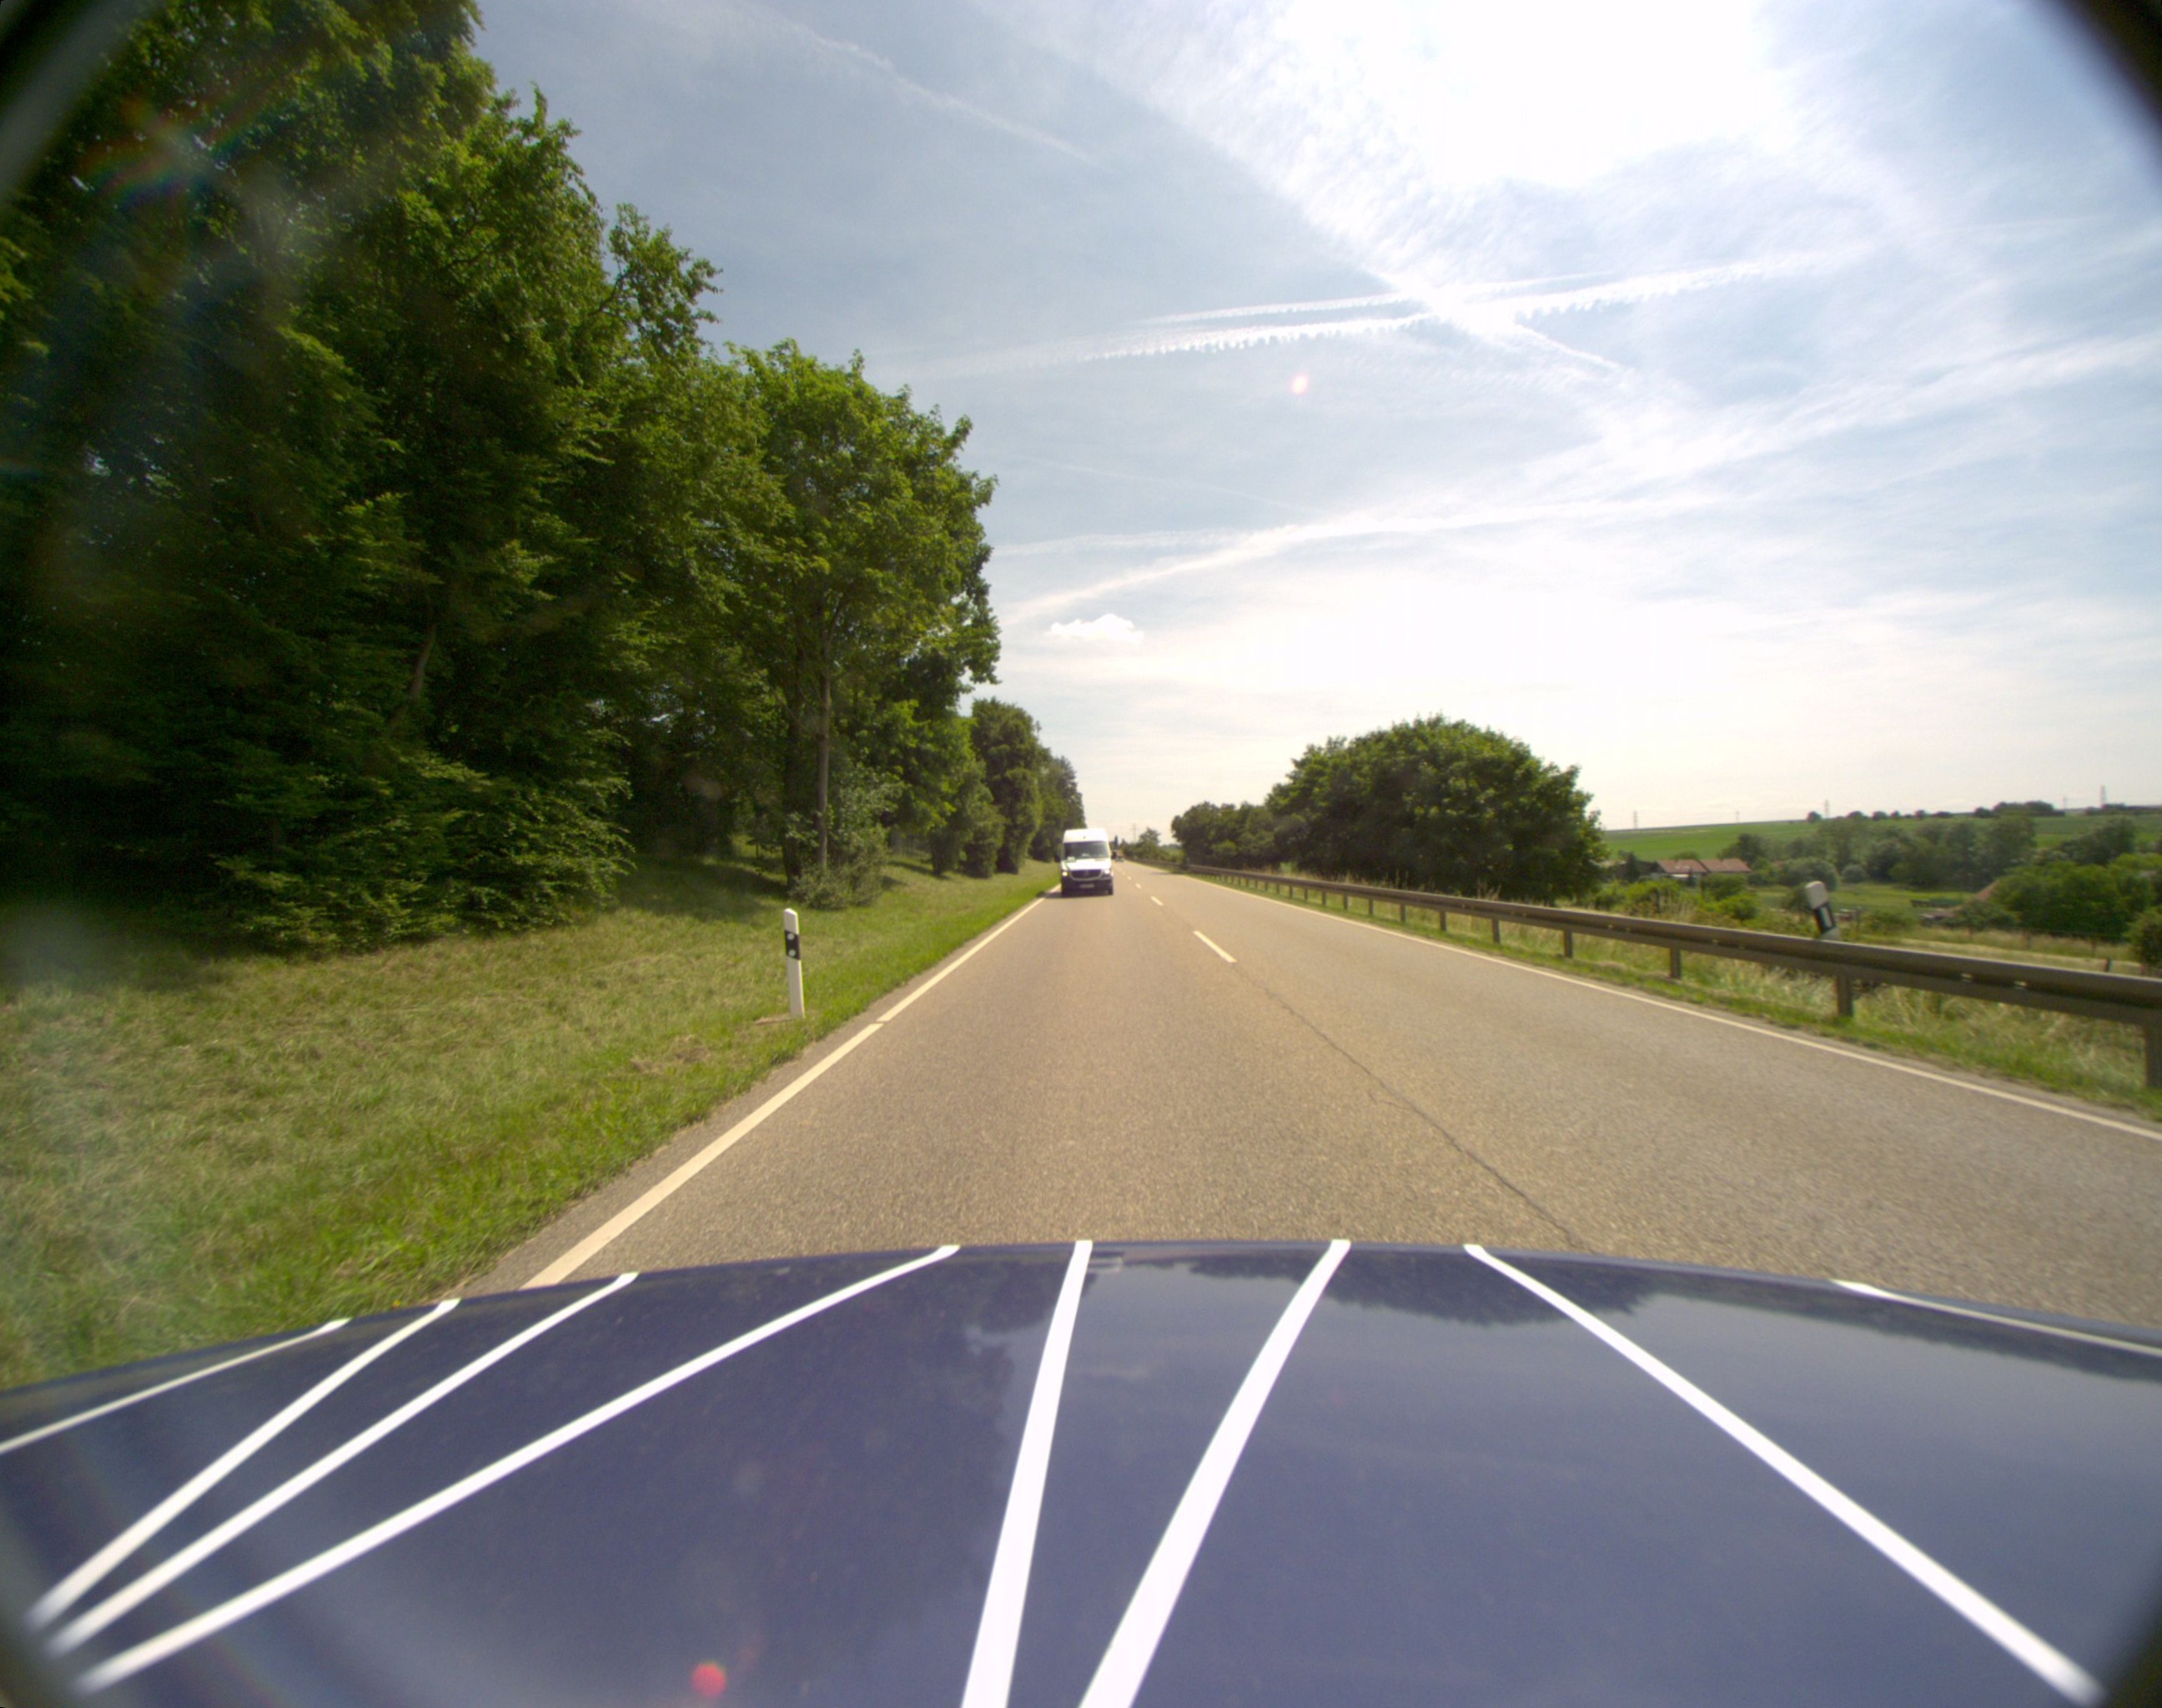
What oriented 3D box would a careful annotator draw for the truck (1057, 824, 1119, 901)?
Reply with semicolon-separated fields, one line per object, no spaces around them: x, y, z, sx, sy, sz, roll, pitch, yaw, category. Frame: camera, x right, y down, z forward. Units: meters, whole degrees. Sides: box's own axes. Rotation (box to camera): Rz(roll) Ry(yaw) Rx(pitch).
0.362;0.274;29.605;2.022;2.567;7.226;-2;0;2;truck

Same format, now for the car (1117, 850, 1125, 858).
7.986;0.028;150.638;1.561;1.454;3.550;-3;0;3;car
